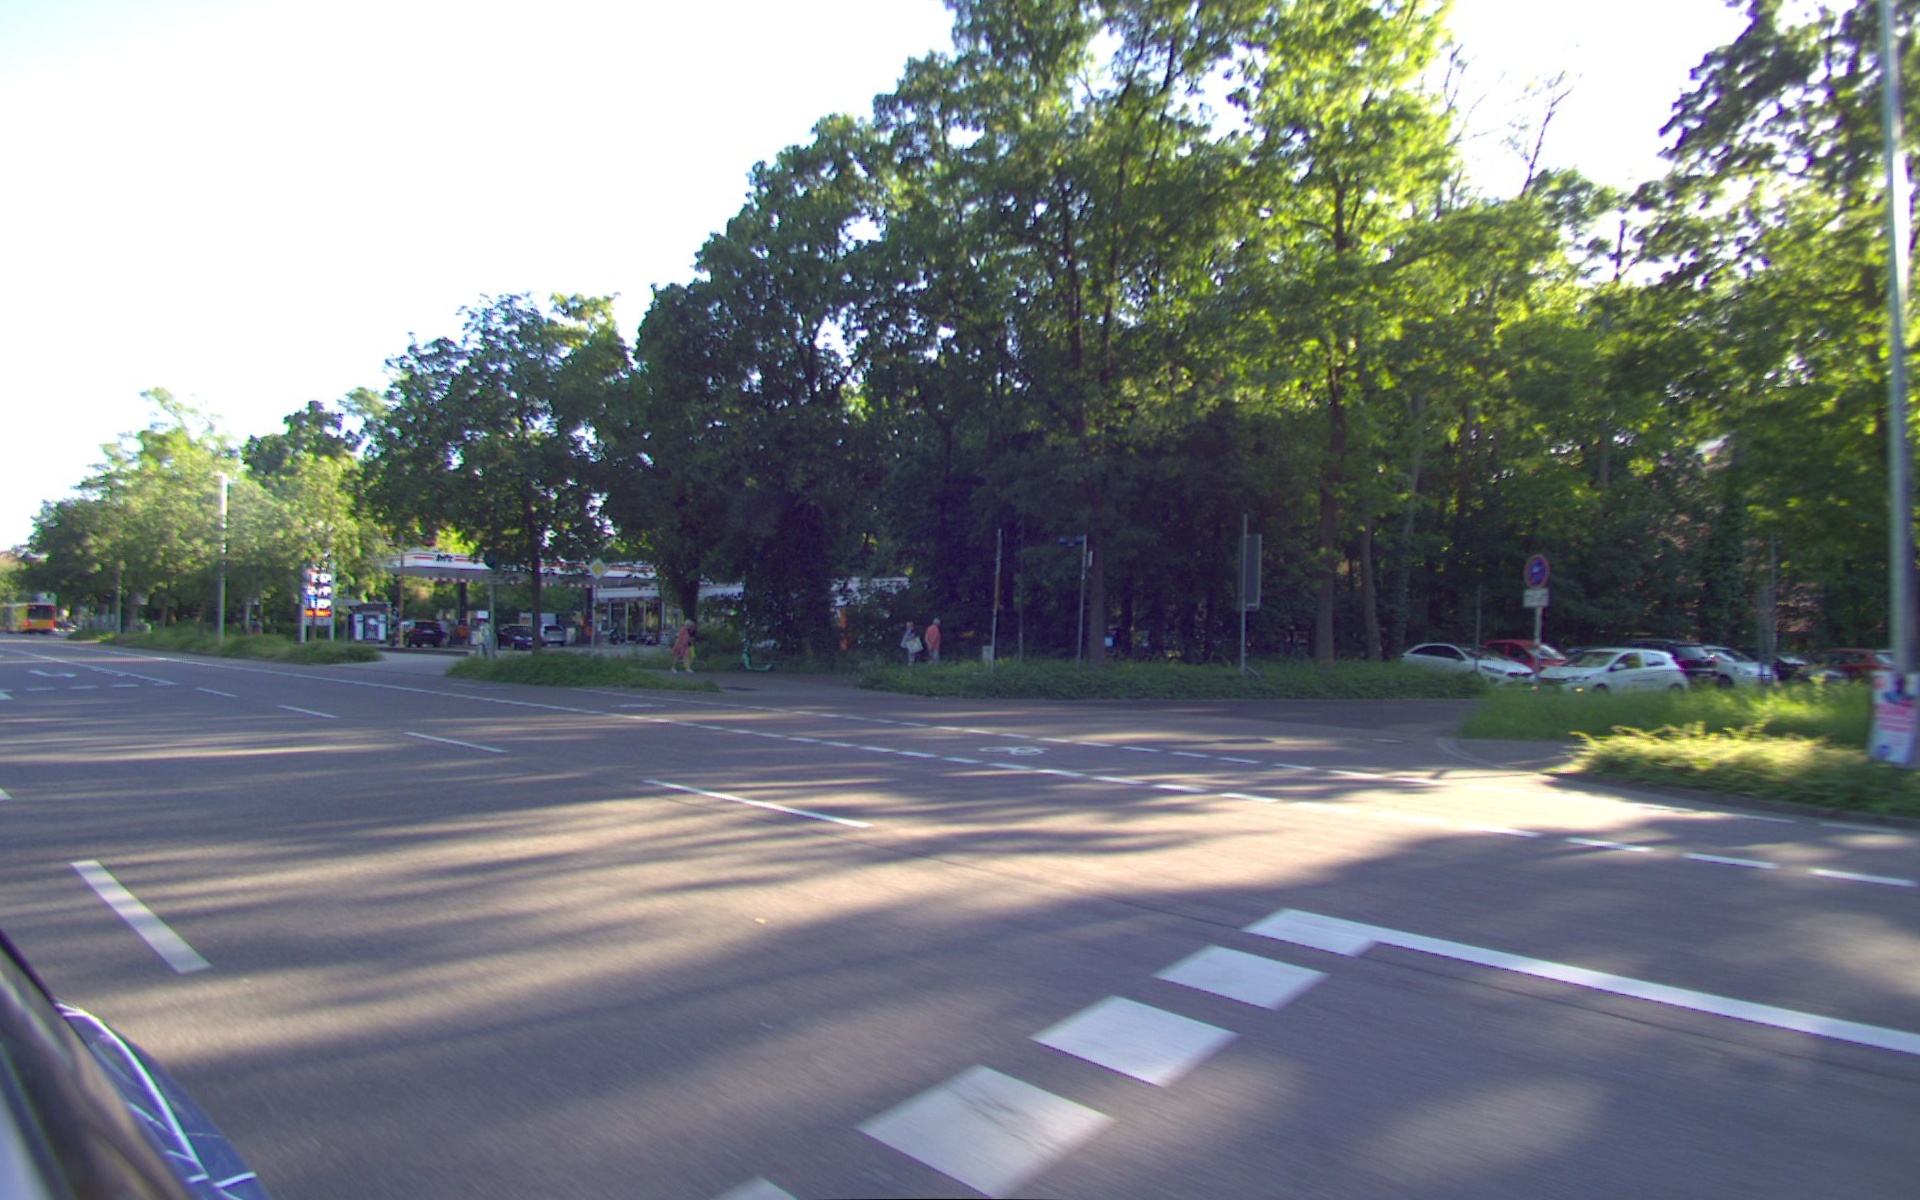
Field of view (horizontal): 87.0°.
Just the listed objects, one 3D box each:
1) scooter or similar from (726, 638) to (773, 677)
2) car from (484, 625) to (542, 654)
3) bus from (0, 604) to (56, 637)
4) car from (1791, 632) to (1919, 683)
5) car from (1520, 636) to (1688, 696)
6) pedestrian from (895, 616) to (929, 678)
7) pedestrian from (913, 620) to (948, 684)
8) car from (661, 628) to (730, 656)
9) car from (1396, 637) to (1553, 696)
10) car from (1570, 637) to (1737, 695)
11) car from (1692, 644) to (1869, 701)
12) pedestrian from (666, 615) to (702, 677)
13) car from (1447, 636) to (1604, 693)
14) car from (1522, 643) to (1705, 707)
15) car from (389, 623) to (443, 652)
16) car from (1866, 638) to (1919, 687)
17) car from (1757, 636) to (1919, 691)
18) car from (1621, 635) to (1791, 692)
[{"bbox_3d":[-6.423,1.743,30.889,1.333,1.140,0.462,0,-2,16],"label":"scooter or similar"},{"bbox_3d":[-26.283,2.310,59.458,3.838,1.653,1.735,-1,-3,43],"label":"car"},{"bbox_3d":[-102.068,2.266,110.581,9.465,3.434,3.002,-1,-2,37],"label":"bus"},{"bbox_3d":[32.506,2.018,35.954,1.800,1.666,4.304,4,-3,-17],"label":"car"},{"bbox_3d":[20.225,2.040,32.020,1.800,1.666,4.304,4,-3,-17],"label":"car"},{"bbox_3d":[-1.448,1.408,30.417,0.820,1.833,0.739,1,-2,-19],"label":"pedestrian"},{"bbox_3d":[-0.866,1.515,29.542,0.820,1.833,0.739,1,-2,-19],"label":"pedestrian"},{"bbox_3d":[-15.707,2.492,60.205,1.759,1.653,3.562,-1,-3,41],"label":"car"},{"bbox_3d":[15.683,1.980,31.132,1.799,1.666,4.304,1,-2,-17],"label":"car"},{"bbox_3d":[22.584,2.122,33.172,1.800,1.666,4.304,4,-3,-17],"label":"car"},{"bbox_3d":[27.361,2.369,33.940,1.800,1.666,4.304,4,-3,-17],"label":"car"},{"bbox_3d":[-8.371,1.382,30.705,0.824,1.833,0.735,0,-2,5],"label":"pedestrian"},{"bbox_3d":[17.952,2.020,32.364,1.799,1.666,4.304,1,-2,-17],"label":"car"},{"bbox_3d":[16.855,1.908,26.163,3.877,1.537,1.836,1,-2,-16],"label":"car"},{"bbox_3d":[-32.112,2.214,59.668,3.613,1.653,1.735,-1,-3,43],"label":"car"},{"bbox_3d":[35.174,2.272,36.384,1.543,1.741,3.622,1,-2,-13],"label":"car"},{"bbox_3d":[30.305,2.148,34.778,1.800,1.666,4.304,4,-3,-17],"label":"car"},{"bbox_3d":[24.786,2.080,33.819,1.800,1.666,4.304,4,-3,-17],"label":"car"}]
